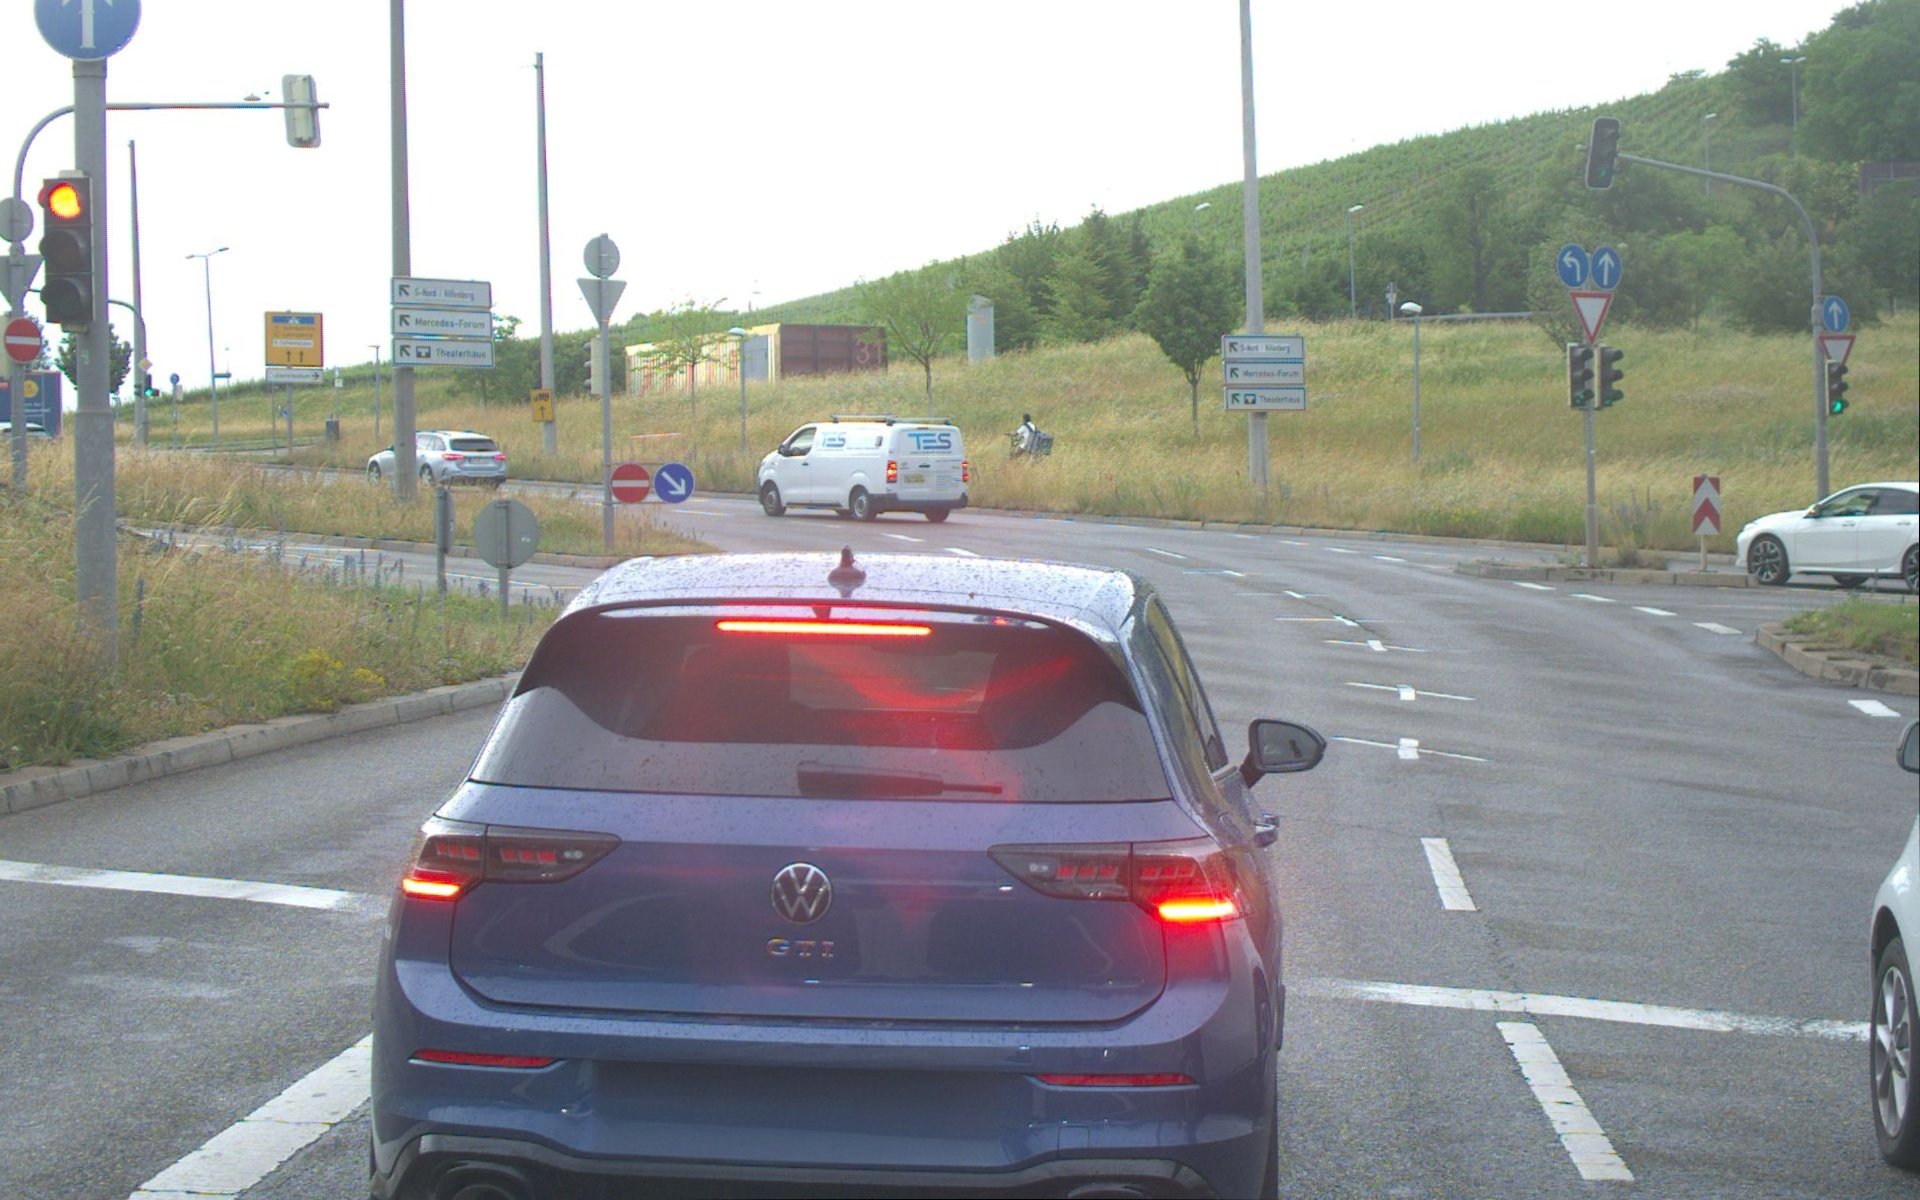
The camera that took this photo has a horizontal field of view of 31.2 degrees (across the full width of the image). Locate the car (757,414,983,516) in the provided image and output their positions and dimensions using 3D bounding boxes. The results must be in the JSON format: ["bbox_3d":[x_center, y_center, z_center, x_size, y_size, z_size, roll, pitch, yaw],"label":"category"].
[{"bbox_3d":[-1.773,-2.535,65.684,2.129,1.788,4.740,0,0,-33],"label":"car"}]

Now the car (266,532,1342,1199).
[{"bbox_3d":[-0.155,0.598,7.742,1.825,1.455,3.808,1,2,4],"label":"car"}]

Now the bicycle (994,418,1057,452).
[{"bbox_3d":[1.582,-3.973,82.823,0.518,0.772,1.620,2,2,-42],"label":"bicycle"}]

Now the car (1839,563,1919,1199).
[{"bbox_3d":[2.986,0.680,7.086,1.658,1.498,3.450,1,0,4],"label":"car"}]

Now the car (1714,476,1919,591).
[{"bbox_3d":[12.316,-0.857,45.313,1.994,1.472,4.420,0,0,-36],"label":"car"}]

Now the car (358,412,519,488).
[{"bbox_3d":[-12.579,-3.588,82.737,1.994,1.654,4.544,0,0,-35],"label":"car"}]

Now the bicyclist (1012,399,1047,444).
[{"bbox_3d":[1.673,-4.300,82.735,0.523,1.043,0.580,2,1,-42],"label":"bicyclist"}]

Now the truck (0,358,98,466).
[{"bbox_3d":[-29.753,-5.884,107.313,3.258,3.064,6.176,3,1,-36],"label":"truck"}]
